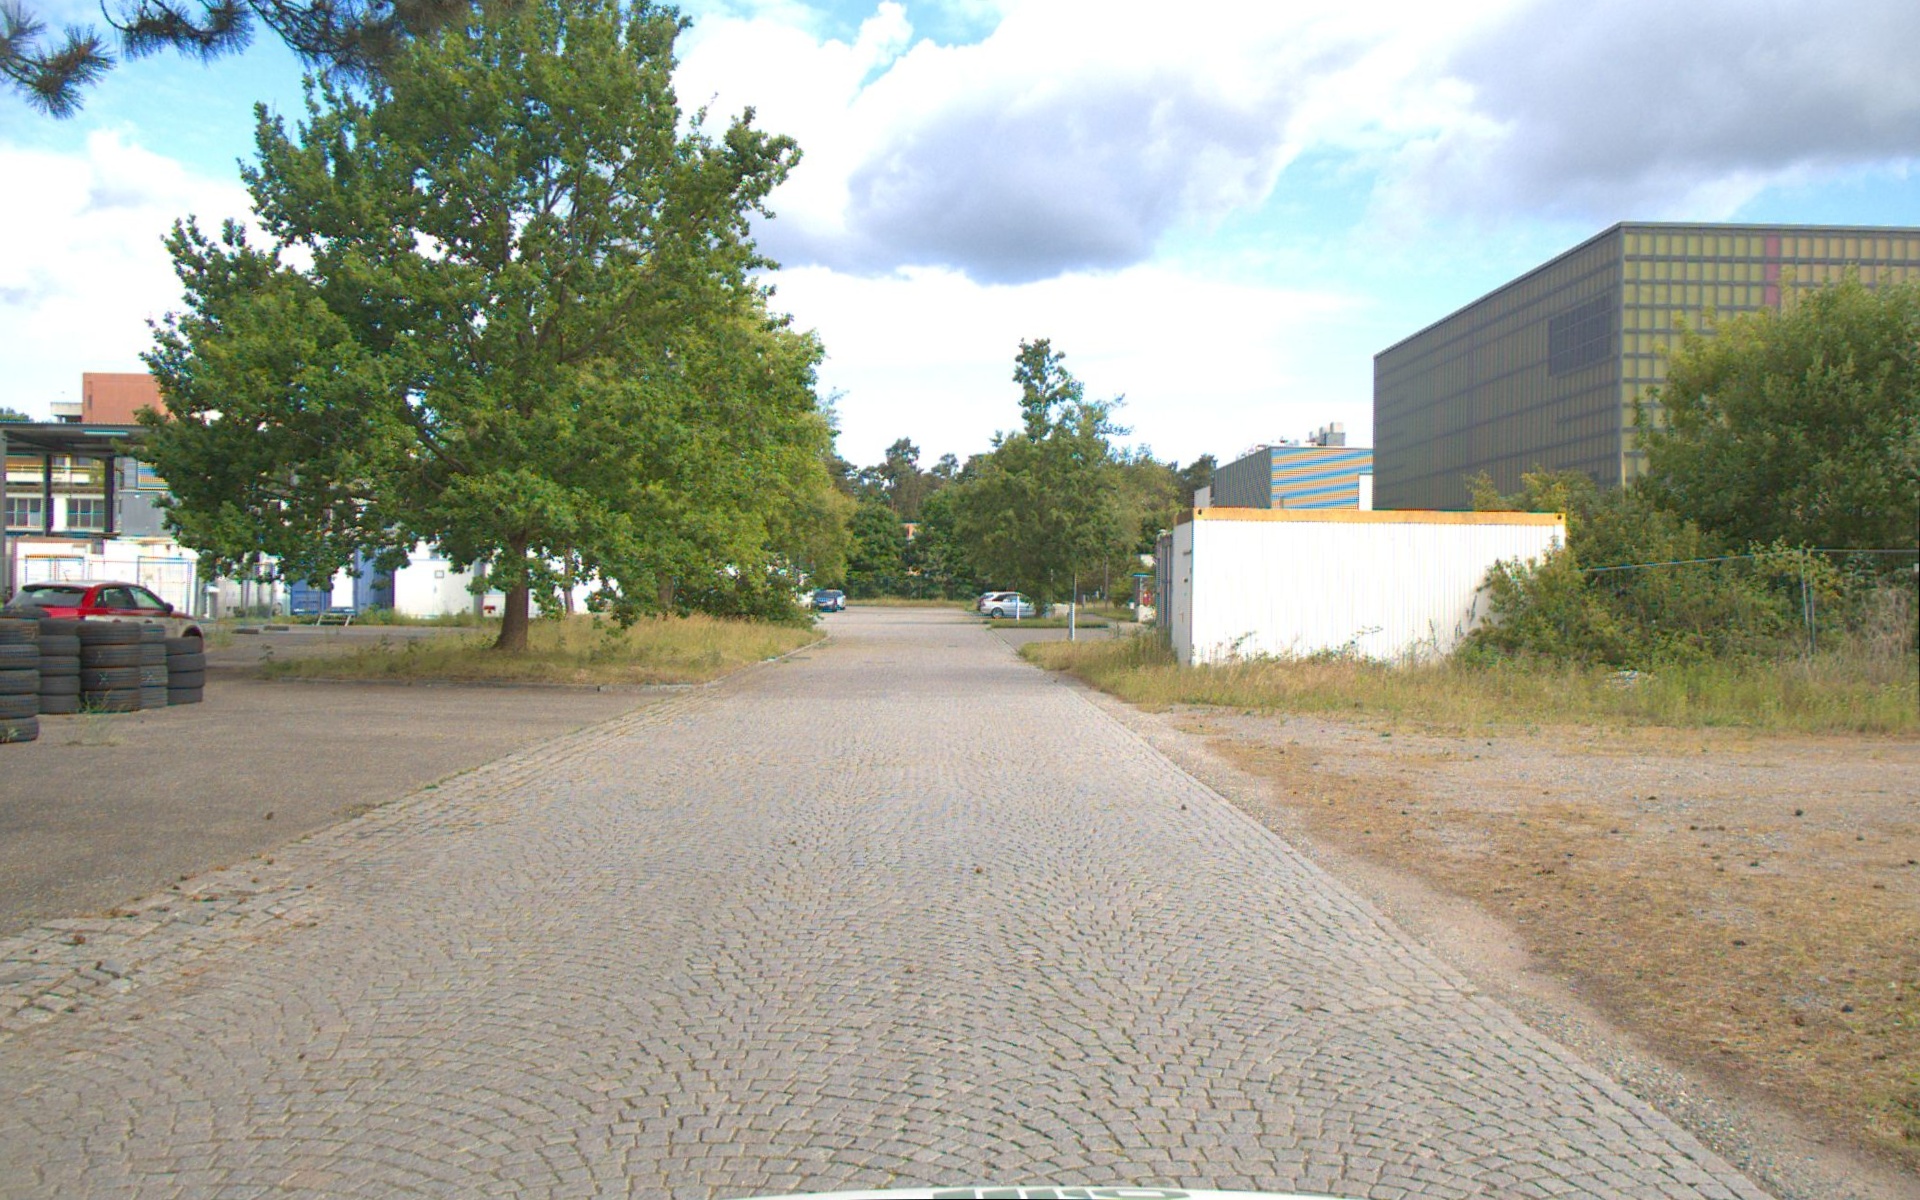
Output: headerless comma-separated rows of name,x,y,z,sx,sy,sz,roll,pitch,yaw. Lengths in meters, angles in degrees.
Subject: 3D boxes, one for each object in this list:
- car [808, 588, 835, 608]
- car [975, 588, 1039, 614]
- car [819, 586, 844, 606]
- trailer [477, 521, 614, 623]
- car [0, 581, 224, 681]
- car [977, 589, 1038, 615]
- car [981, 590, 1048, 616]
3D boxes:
car,-9.784,-0.133,116.775,1.614,1.393,3.997,1,0,-1
car,2.903,0.059,103.308,3.903,1.501,1.653,-2,0,-1
car,-9.858,-0.286,127.116,1.614,1.484,3.997,1,0,-1
trailer,-16.025,-1.046,64.834,2.571,3.661,10.179,1,0,1
car,-13.779,0.443,26.835,1.591,1.458,4.066,1,1,4
car,2.741,0.106,95.478,3.451,1.386,1.622,-1,0,-1
car,3.228,0.170,98.183,3.903,1.473,1.653,-1,0,-1
